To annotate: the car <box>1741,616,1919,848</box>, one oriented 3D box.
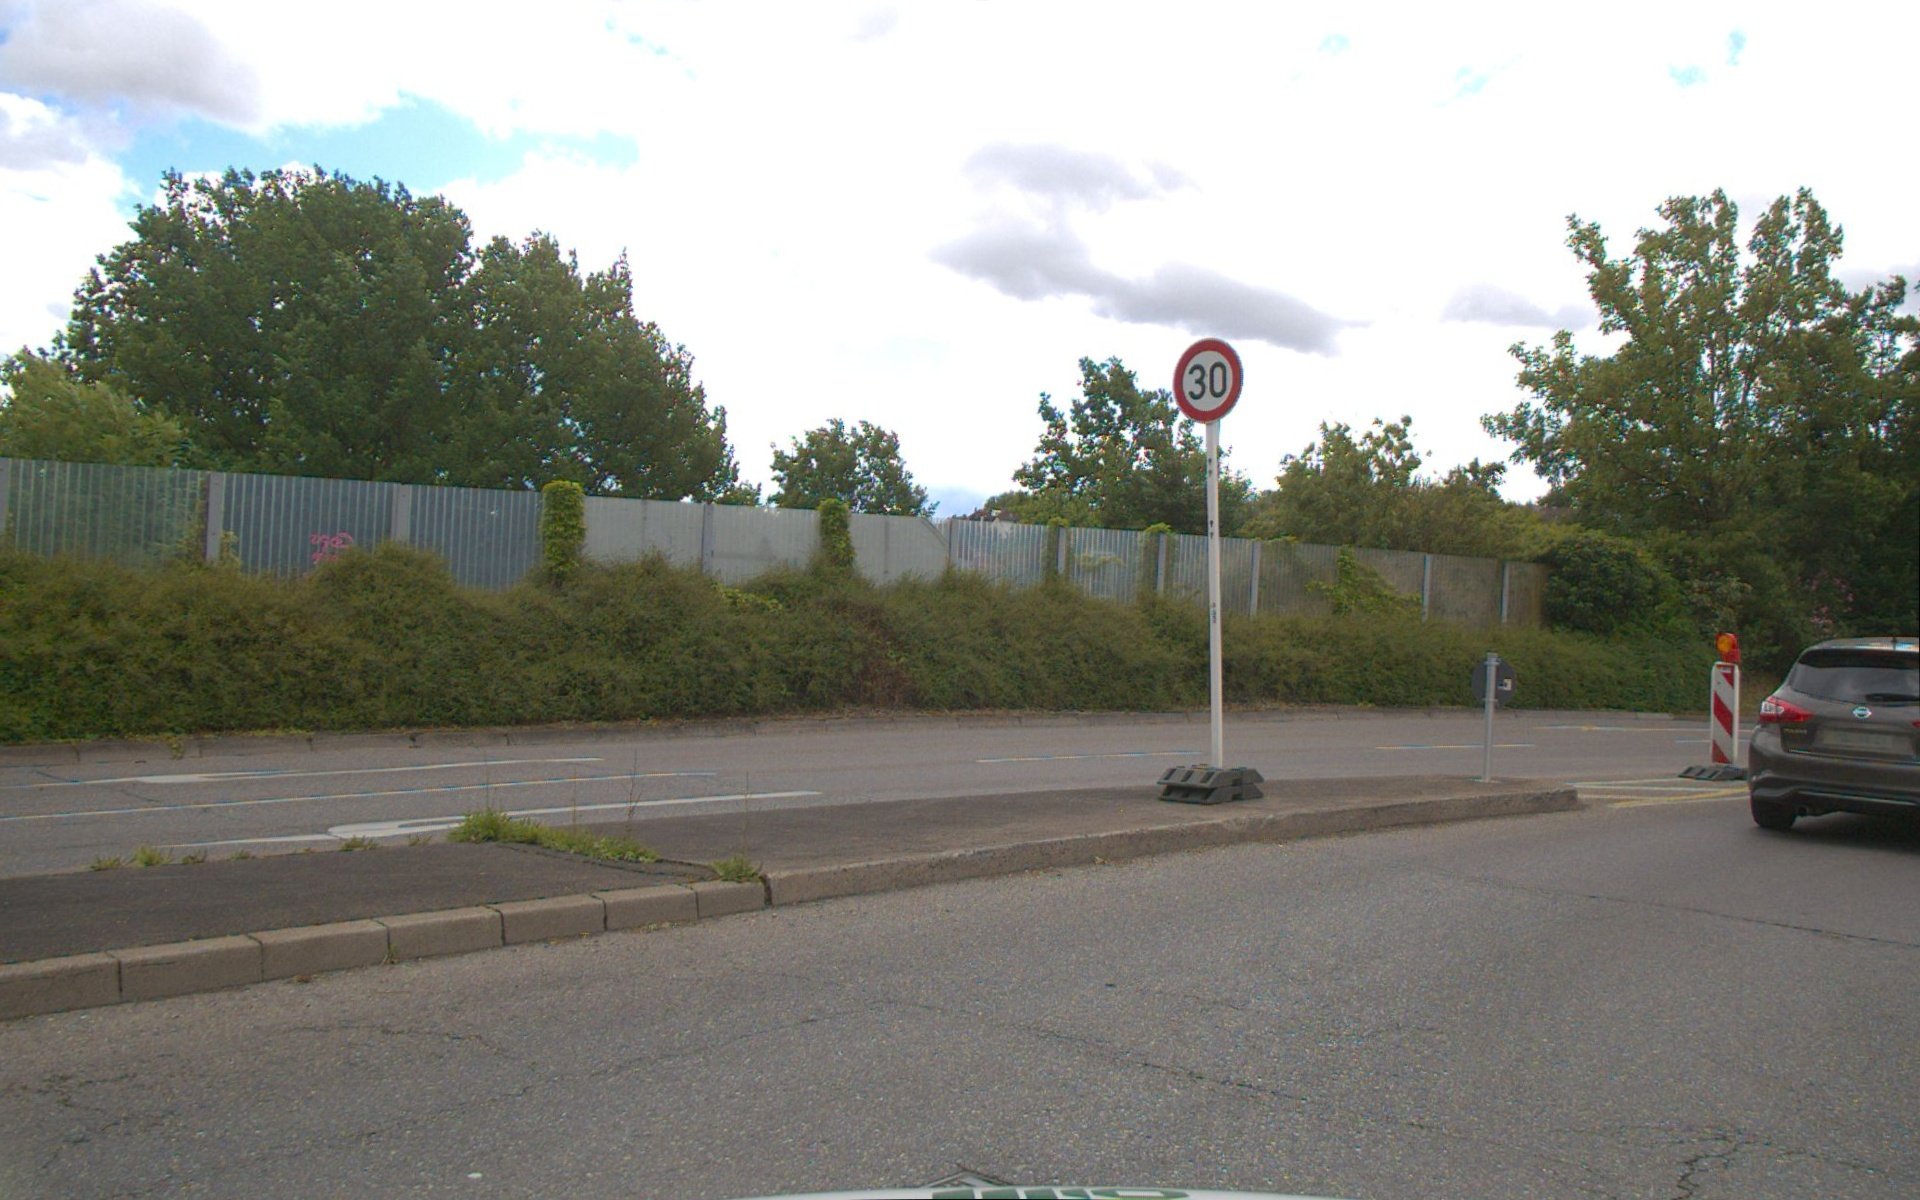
[{"bbox_3d":[7.807,0.963,13.176,1.772,1.579,3.975,1,0,42],"label":"car"}]
